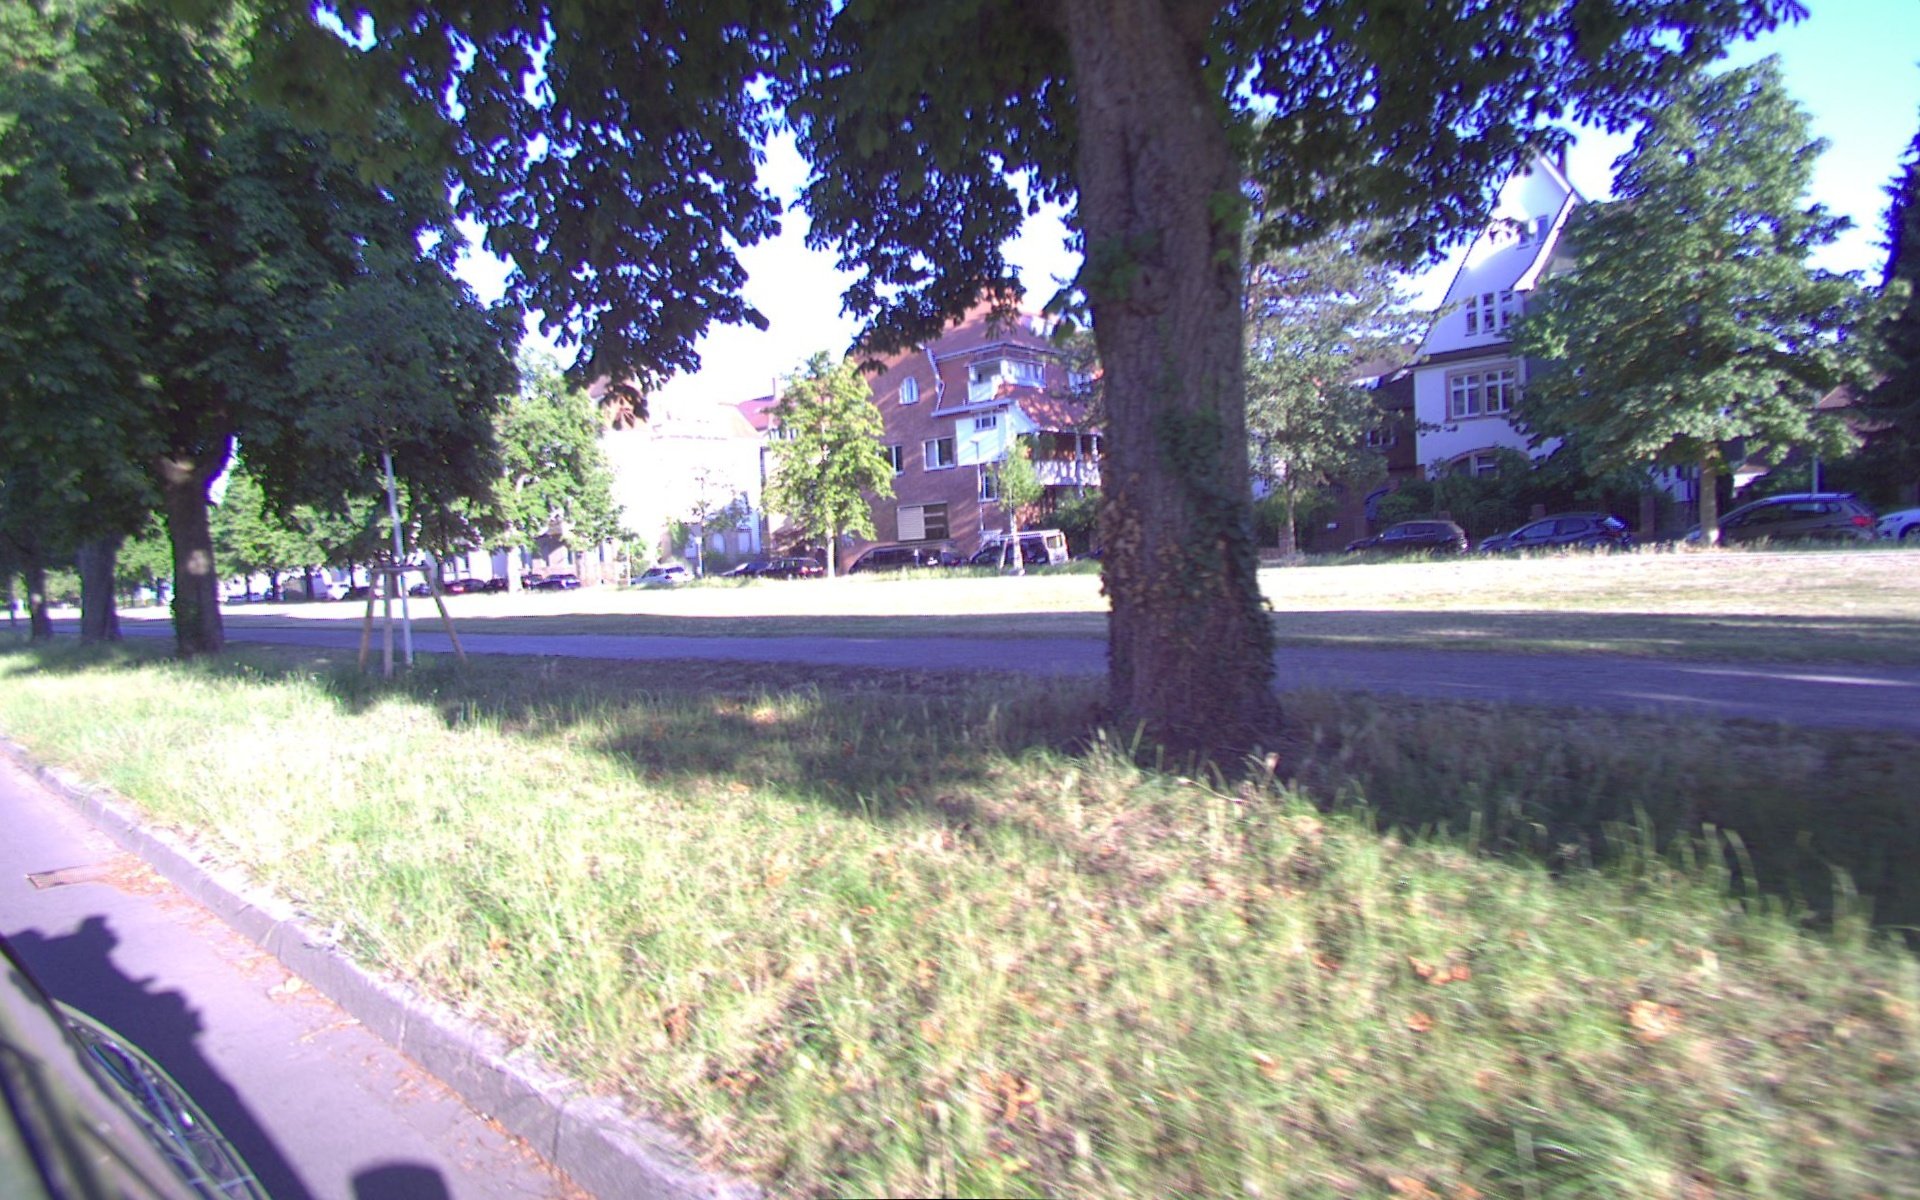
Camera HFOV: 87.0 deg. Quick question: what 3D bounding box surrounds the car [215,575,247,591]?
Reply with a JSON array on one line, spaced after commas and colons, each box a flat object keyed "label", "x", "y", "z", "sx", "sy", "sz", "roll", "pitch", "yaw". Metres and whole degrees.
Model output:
[{"label": "car", "x": -87.258, "y": -2.065, "z": 121.147, "sx": 4.874, "sy": 1.702, "sz": 1.973, "roll": -1, "pitch": 5, "yaw": 42}]

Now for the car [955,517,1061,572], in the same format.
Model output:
[{"label": "car", "x": 1.995, "y": -2.315, "z": 42.644, "sx": 3.999, "sy": 2.028, "sz": 1.973, "roll": -1, "pitch": 5, "yaw": 42}]

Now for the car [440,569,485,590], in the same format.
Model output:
[{"label": "car", "x": -44.880, "y": -1.842, "z": 91.283, "sx": 4.426, "sy": 1.664, "sz": 1.974, "roll": -1, "pitch": 4, "yaw": 40}]

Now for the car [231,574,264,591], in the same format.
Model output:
[{"label": "car", "x": -82.755, "y": -2.048, "z": 117.472, "sx": 4.874, "sy": 1.702, "sz": 1.973, "roll": -1, "pitch": 5, "yaw": 42}]

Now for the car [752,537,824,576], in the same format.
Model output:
[{"label": "car", "x": -10.246, "y": -2.586, "z": 60.096, "sx": 4.367, "sy": 2.028, "sz": 1.739, "roll": -1, "pitch": 4, "yaw": 42}]

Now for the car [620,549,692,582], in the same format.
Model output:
[{"label": "car", "x": -18.075, "y": -2.037, "z": 59.987, "sx": 4.648, "sy": 1.651, "sz": 1.801, "roll": -1, "pitch": 5, "yaw": 41}]

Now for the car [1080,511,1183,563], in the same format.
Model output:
[{"label": "car", "x": 7.558, "y": -2.774, "z": 44.830, "sx": 4.000, "sy": 2.028, "sz": 1.973, "roll": 0, "pitch": 5, "yaw": 43}]

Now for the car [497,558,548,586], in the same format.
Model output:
[{"label": "car", "x": -36.319, "y": -2.329, "z": 83.925, "sx": 4.876, "sy": 2.028, "sz": 1.973, "roll": -1, "pitch": 5, "yaw": 43}]

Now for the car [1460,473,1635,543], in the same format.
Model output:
[{"label": "car", "x": 16.871, "y": -2.632, "z": 29.152, "sx": 4.001, "sy": 1.695, "sz": 1.972, "roll": 0, "pitch": 6, "yaw": 44}]

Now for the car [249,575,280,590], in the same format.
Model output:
[{"label": "car", "x": -90.353, "y": -2.322, "z": 131.504, "sx": 4.871, "sy": 1.702, "sz": 1.975, "roll": -1, "pitch": 4, "yaw": 39}]

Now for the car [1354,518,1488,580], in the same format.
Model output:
[{"label": "car", "x": 16.825, "y": -1.843, "z": 37.042, "sx": 1.971, "sy": 2.028, "sz": 4.003, "roll": -8, "pitch": 5, "yaw": -44}]

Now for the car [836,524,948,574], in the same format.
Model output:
[{"label": "car", "x": -3.182, "y": -2.345, "z": 46.785, "sx": 5.245, "sy": 1.954, "sz": 1.973, "roll": -1, "pitch": 4, "yaw": 42}]

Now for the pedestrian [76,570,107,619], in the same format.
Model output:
[{"label": "pedestrian", "x": -33.090, "y": -0.202, "z": 38.560, "sx": 0.716, "sy": 1.770, "sz": 0.994, "roll": -7, "pitch": 4, "yaw": -42}]

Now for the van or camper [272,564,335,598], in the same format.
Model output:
[{"label": "van or camper", "x": -67.802, "y": -1.924, "z": 104.454, "sx": 7.894, "sy": 3.133, "sz": 3.221, "roll": -1, "pitch": 5, "yaw": 42}]

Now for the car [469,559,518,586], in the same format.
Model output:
[{"label": "car", "x": -40.408, "y": -2.390, "z": 87.651, "sx": 4.425, "sy": 2.028, "sz": 1.974, "roll": -1, "pitch": 4, "yaw": 40}]

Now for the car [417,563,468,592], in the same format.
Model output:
[{"label": "car", "x": -41.238, "y": -1.774, "z": 80.606, "sx": 4.876, "sy": 2.028, "sz": 1.973, "roll": -1, "pitch": 5, "yaw": 43}]

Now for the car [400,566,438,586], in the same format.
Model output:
[{"label": "car", "x": -52.438, "y": -2.325, "z": 98.068, "sx": 4.000, "sy": 1.747, "sz": 1.973, "roll": -1, "pitch": 4, "yaw": 43}]

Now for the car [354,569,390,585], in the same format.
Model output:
[{"label": "car", "x": -62.322, "y": -2.433, "z": 107.260, "sx": 3.998, "sy": 1.474, "sz": 1.974, "roll": -1, "pitch": 4, "yaw": 41}]

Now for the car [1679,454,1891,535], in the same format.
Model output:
[{"label": "car", "x": 20.660, "y": -2.618, "z": 25.428, "sx": 4.001, "sy": 1.695, "sz": 1.972, "roll": 0, "pitch": 6, "yaw": 44}]

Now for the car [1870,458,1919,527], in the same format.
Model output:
[{"label": "car", "x": 27.188, "y": -2.997, "z": 27.151, "sx": 3.996, "sy": 1.795, "sz": 1.975, "roll": 0, "pitch": 5, "yaw": 39}]

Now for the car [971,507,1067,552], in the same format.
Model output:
[{"label": "car", "x": 2.805, "y": -3.364, "z": 48.789, "sx": 4.407, "sy": 1.851, "sz": 1.798, "roll": -1, "pitch": 5, "yaw": 42}]

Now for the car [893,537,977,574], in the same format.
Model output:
[{"label": "car", "x": -1.345, "y": -2.322, "z": 53.246, "sx": 4.304, "sy": 1.635, "sz": 1.739, "roll": -1, "pitch": 4, "yaw": 42}]
